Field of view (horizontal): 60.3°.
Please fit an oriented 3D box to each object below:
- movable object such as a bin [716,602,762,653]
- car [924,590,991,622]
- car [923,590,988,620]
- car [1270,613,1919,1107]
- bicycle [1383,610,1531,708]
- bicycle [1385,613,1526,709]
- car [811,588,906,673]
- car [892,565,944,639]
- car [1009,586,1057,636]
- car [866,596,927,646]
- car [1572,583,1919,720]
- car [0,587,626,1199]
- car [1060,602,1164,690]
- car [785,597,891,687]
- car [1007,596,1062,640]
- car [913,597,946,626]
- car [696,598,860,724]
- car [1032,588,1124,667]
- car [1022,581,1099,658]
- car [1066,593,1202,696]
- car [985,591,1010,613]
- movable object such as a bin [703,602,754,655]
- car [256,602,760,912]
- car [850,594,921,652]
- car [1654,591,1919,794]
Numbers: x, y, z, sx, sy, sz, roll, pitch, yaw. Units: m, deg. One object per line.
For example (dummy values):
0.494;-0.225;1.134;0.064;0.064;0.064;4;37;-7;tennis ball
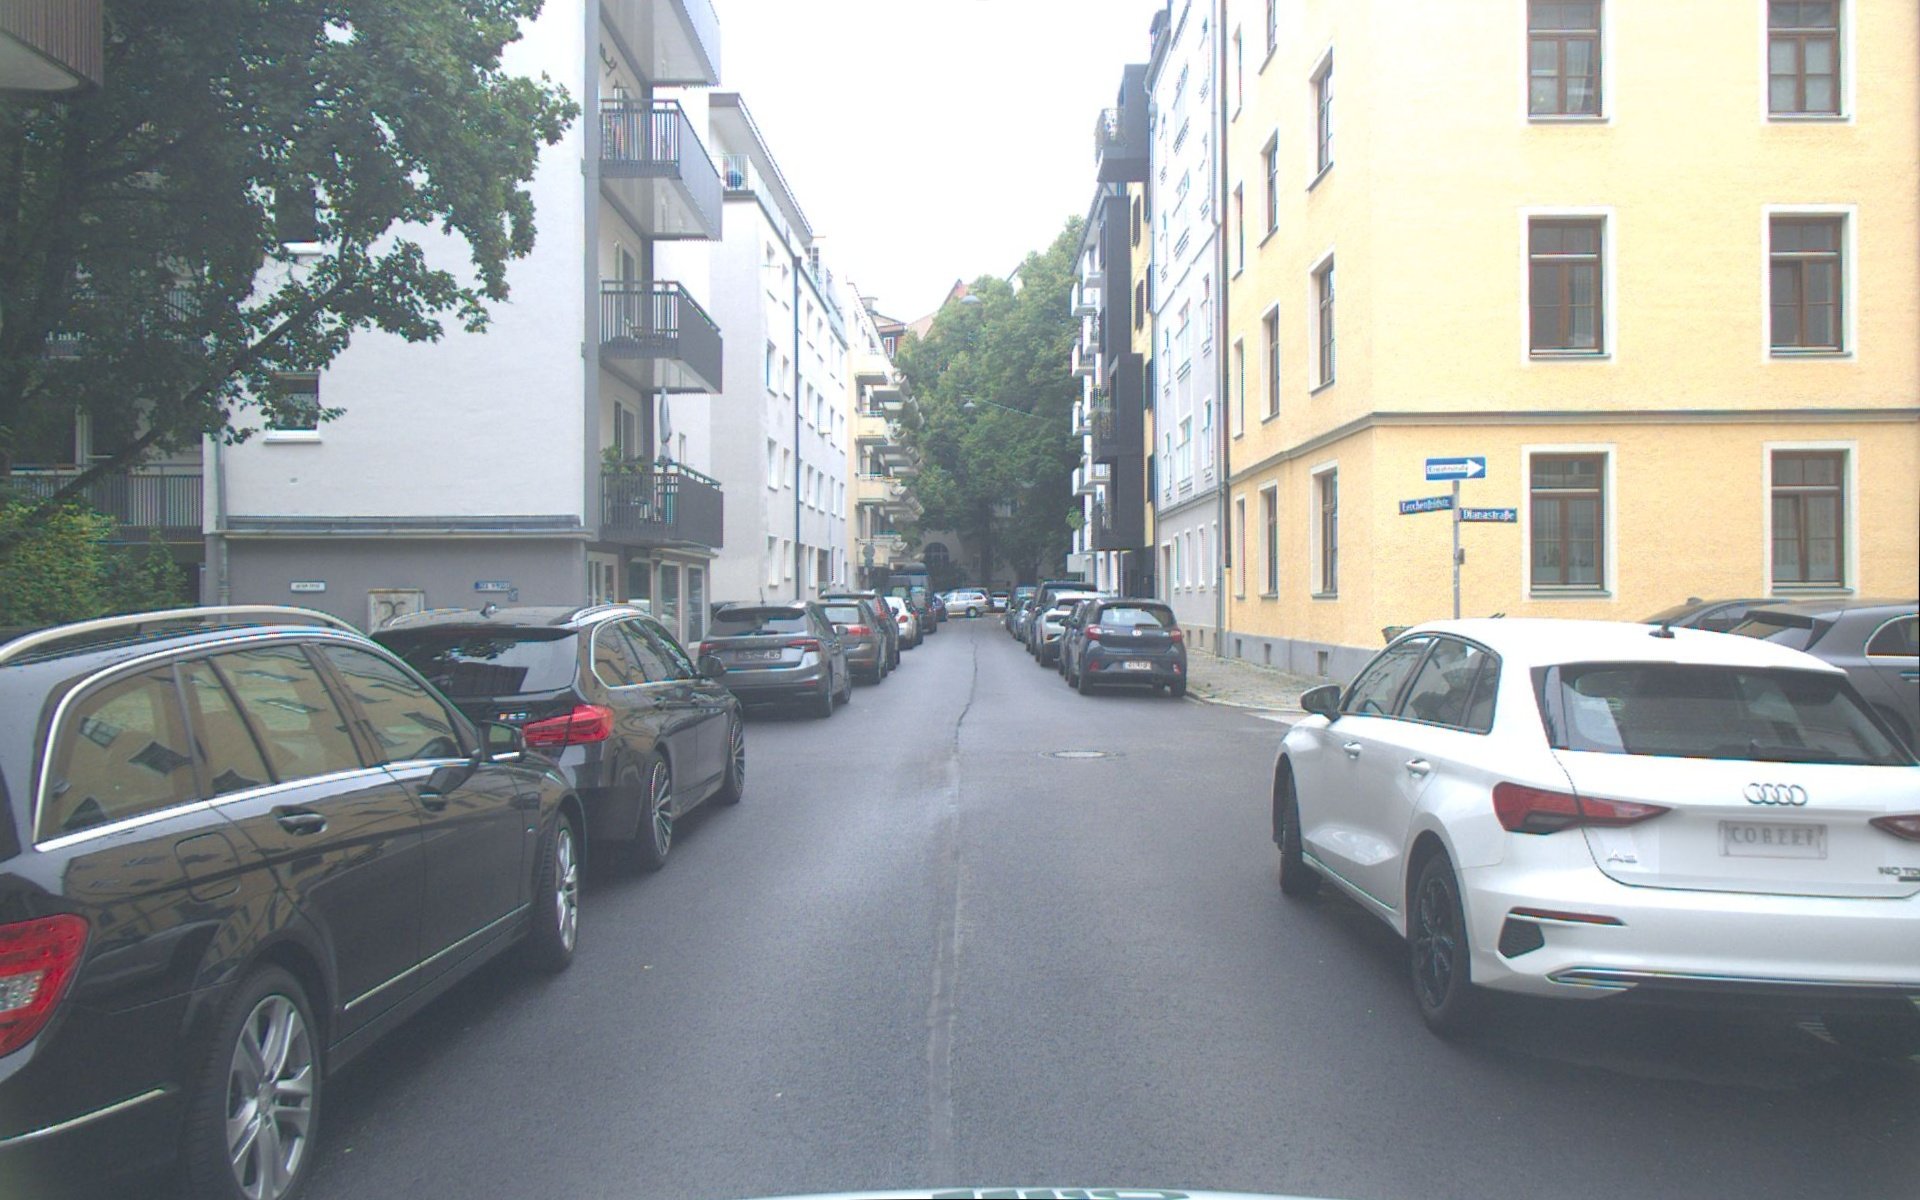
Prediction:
-6.128;0.749;45.958;1.025;1.360;0.993;-3;0;3;movable object such as a bin
-0.166;0.351;97.014;3.807;1.612;1.647;-3;0;-1;car
-0.283;0.299;98.986;3.807;1.612;1.647;-3;0;-1;car
2.571;0.801;6.957;1.781;1.433;3.952;1;0;0;car
6.523;0.766;21.728;1.771;1.194;0.505;-2;2;-2;bicycle
6.356;0.778;21.236;1.678;1.159;0.374;-2;2;-1;bicycle
-2.119;0.610;35.580;1.740;1.658;4.414;-2;0;0;car
-1.703;0.081;68.425;1.897;2.850;4.532;-3;0;0;car
3.106;0.454;71.202;1.792;2.034;4.415;3;0;0;car
-2.021;0.656;53.710;1.740;1.478;4.046;-3;0;0;car
9.611;0.589;19.551;4.127;1.520;1.711;0;-1;-2;car
-2.390;0.734;5.025;1.729;1.509;4.424;-1;0;1;car
2.834;0.820;31.487;1.629;1.495;3.819;2;0;1;car
-2.126;0.698;29.753;1.658;1.467;3.976;-2;0;-1;car
2.723;0.631;61.312;1.792;1.479;4.415;3;0;0;car
-1.606;0.590;87.232;1.609;1.407;3.482;-3;0;0;car
-2.332;0.739;22.034;1.658;1.467;3.942;-2;0;1;car
2.585;0.566;37.079;1.648;1.595;4.415;2;0;0;car
2.664;0.484;44.690;1.792;1.943;4.415;1;0;0;car
2.776;0.669;27.228;1.715;1.495;4.343;2;0;0;car
2.563;0.127;113.856;1.609;1.407;3.745;-3;0;0;car
-6.283;0.757;44.881;1.142;1.360;1.026;-3;0;3;movable object such as a bin
-2.456;0.764;10.205;1.818;1.433;4.383;-2;0;1;car
-2.130;0.638;48.621;1.740;1.513;4.519;-3;0;1;car
8.086;0.667;13.376;4.120;1.424;1.999;-1;2;-3;car
